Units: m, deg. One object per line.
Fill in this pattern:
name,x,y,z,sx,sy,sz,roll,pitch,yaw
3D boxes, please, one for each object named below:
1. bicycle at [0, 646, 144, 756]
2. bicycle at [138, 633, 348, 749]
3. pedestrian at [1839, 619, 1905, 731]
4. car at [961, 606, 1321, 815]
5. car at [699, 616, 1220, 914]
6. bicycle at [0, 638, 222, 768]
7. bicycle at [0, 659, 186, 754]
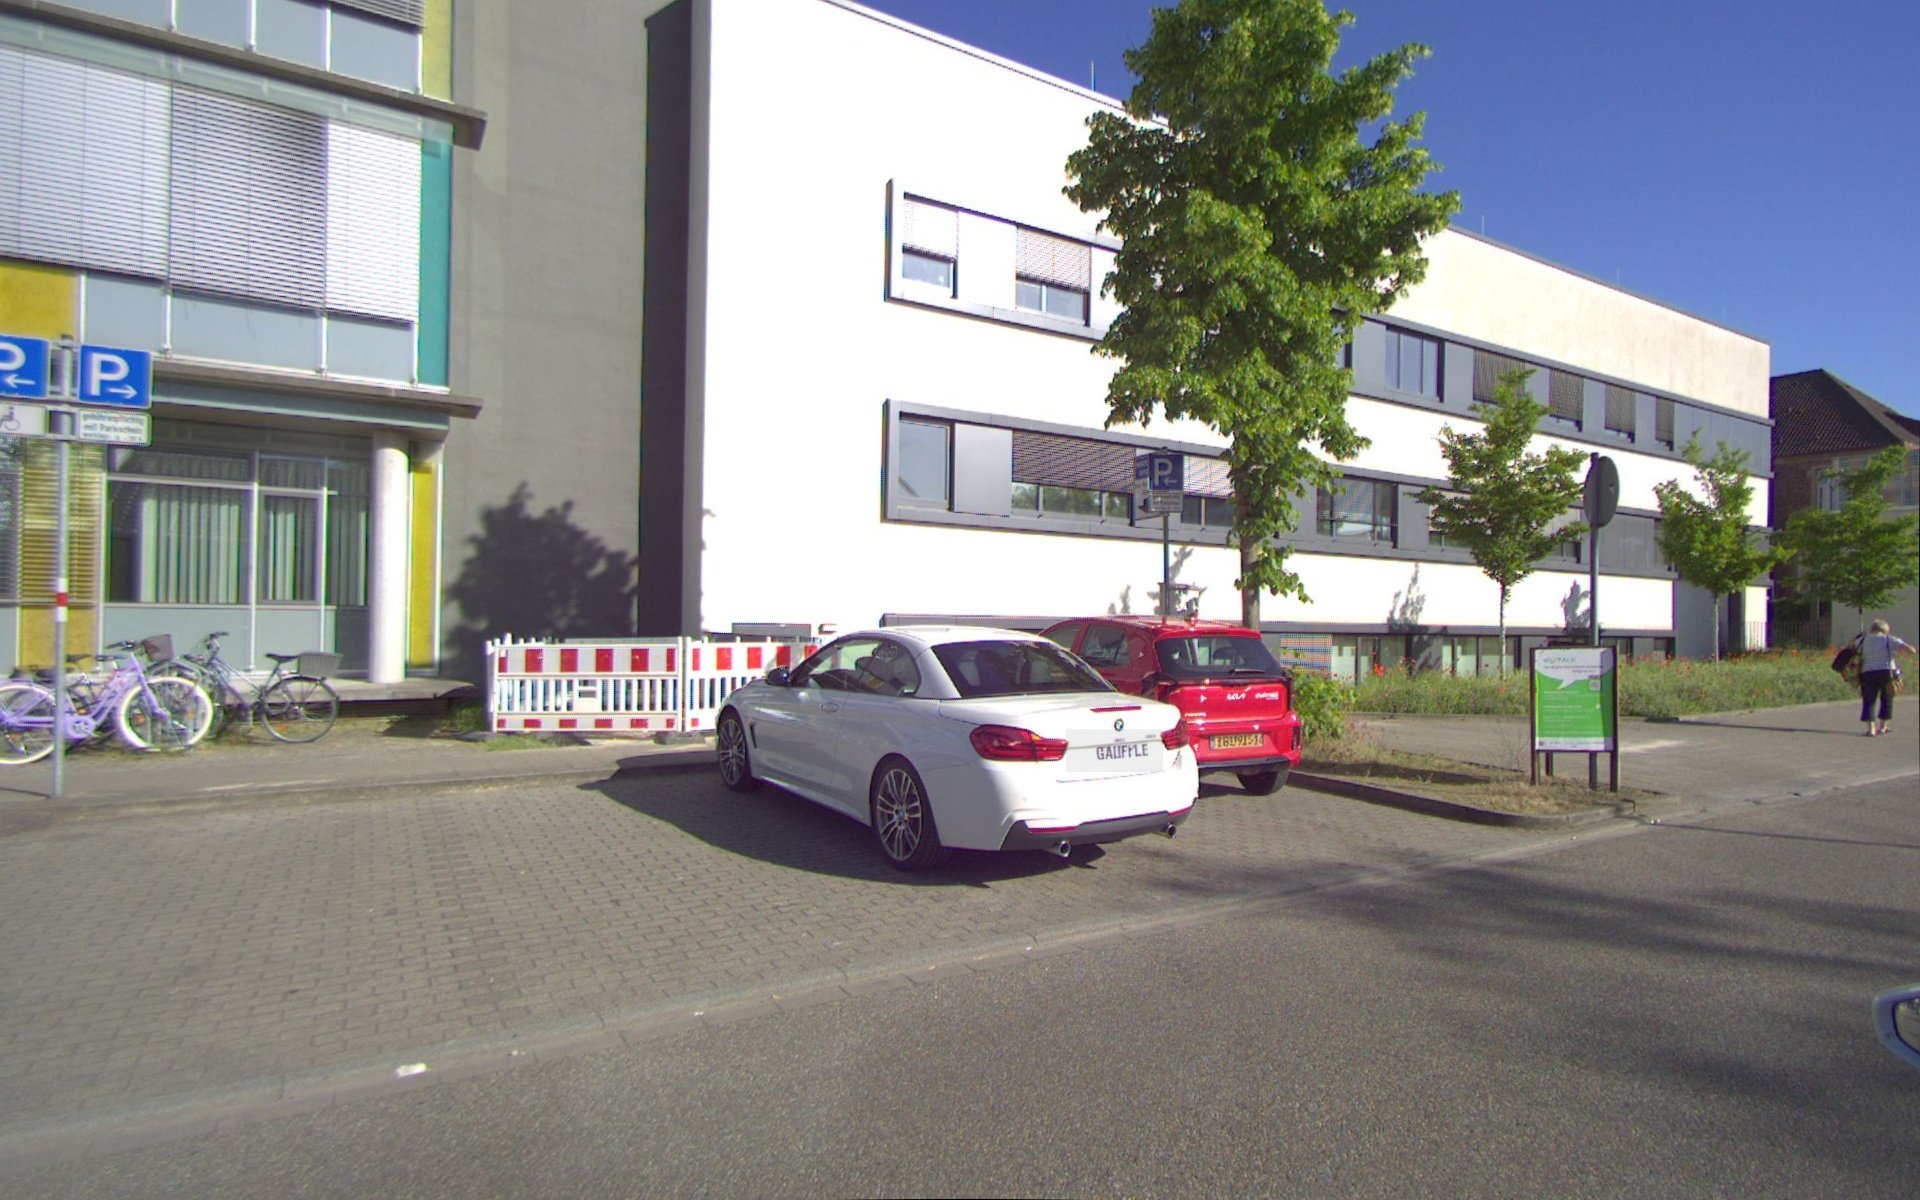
bicycle,-8.762,0.950,9.596,1.434,1.002,0.393,1,-1,-31
bicycle,-7.461,0.923,10.547,1.743,1.138,0.418,1,-1,-31
pedestrian,12.939,1.045,14.246,0.600,1.544,0.536,1,-1,-30
car,1.468,0.847,9.473,1.591,1.489,3.625,1,1,-24
car,-0.378,0.865,7.354,1.681,1.385,4.486,1,0,-32
bicycle,-8.083,0.929,9.396,1.839,1.126,0.532,1,-1,-31
bicycle,-8.754,1.054,10.145,1.434,0.874,0.367,1,-1,-31
